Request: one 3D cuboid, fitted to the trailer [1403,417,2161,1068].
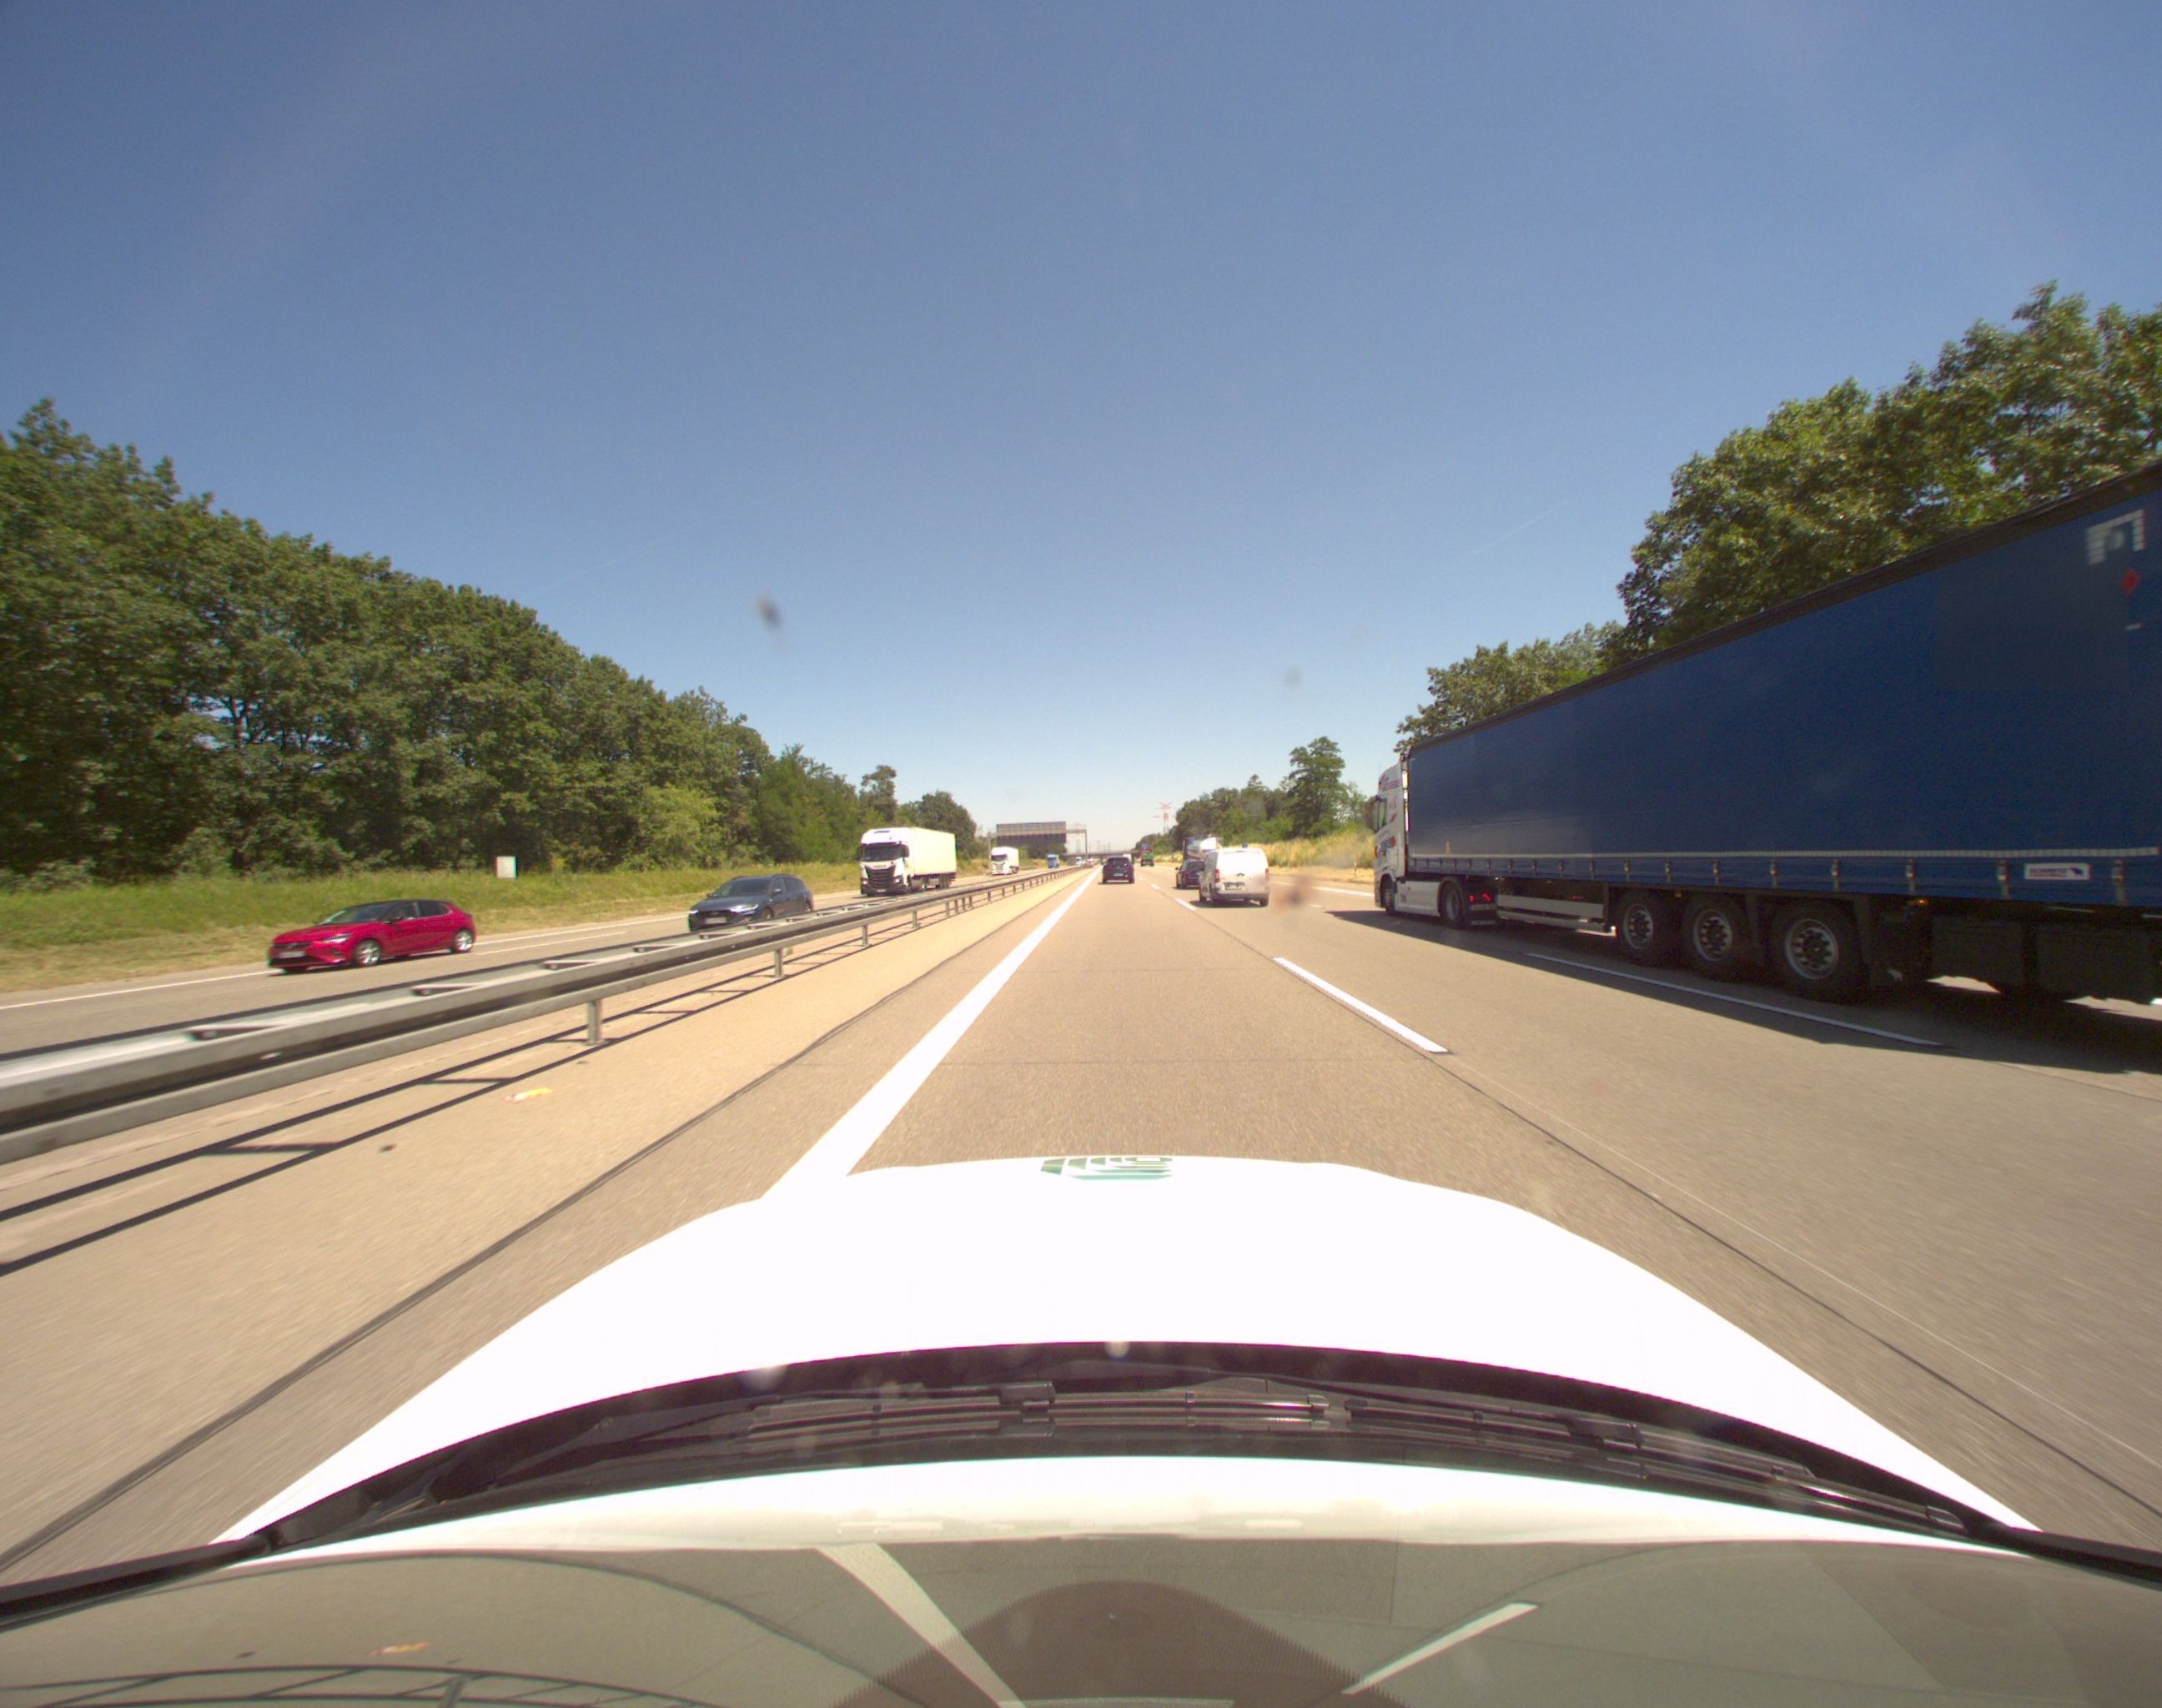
[{"bbox_3d":[8.824,-0.684,11.786,3.274,4.219,13.569,0,0,2],"label":"trailer"}]

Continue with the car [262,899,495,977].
[{"bbox_3d":[-15.874,1.836,18.735,1.633,1.276,4.134,-4,0,1],"label":"car"}]

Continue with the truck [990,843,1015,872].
[{"bbox_3d":[-11.614,0.516,121.513,2.692,4.186,6.190,-4,0,1],"label":"truck"}]

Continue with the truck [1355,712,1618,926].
[{"bbox_3d":[9.012,-0.673,19.091,3.274,4.219,6.009,0,-1,1],"label":"truck"}]

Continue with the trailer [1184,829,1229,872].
[{"bbox_3d":[11.872,-0.253,78.127,2.673,3.837,12.013,0,0,2],"label":"trailer"}]

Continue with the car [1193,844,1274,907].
[{"bbox_3d":[4.903,0.654,26.912,1.808,1.827,5.112,-2,0,1],"label":"car"}]

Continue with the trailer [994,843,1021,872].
[{"bbox_3d":[-11.472,0.538,127.961,2.692,4.186,12.066,-4,0,1],"label":"trailer"}]

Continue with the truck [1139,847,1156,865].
[{"bbox_3d":[14.649,0.418,179.974,2.978,3.728,10.092,0,0,1],"label":"truck"}]

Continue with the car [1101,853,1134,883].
[{"bbox_3d":[2.293,0.856,52.358,1.933,1.752,5.814,-1,0,1],"label":"car"}]

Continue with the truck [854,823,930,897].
[{"bbox_3d":[-11.073,0.343,48.347,2.659,3.990,6.342,-4,0,1],"label":"truck"}]

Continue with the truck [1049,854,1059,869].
[{"bbox_3d":[-8.012,2.197,244.214,2.692,4.186,4.724,-2,0,1],"label":"truck"}]

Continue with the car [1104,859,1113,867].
[{"bbox_3d":[4.705,1.512,139.145,1.518,1.252,3.626,-2,0,1],"label":"car"}]

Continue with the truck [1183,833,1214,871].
[{"bbox_3d":[12.033,-0.212,83.856,2.673,3.837,4.445,0,-1,1],"label":"truck"}]

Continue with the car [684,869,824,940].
[{"bbox_3d":[-8.368,1.211,21.313,1.611,1.482,4.626,-4,0,1],"label":"car"}]

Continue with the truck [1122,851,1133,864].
[{"bbox_3d":[10.612,0.820,186.034,2.053,2.914,7.005,-2,0,1],"label":"truck"}]

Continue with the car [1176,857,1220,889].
[{"bbox_3d":[5.863,0.925,41.197,1.768,1.472,3.873,-2,0,1],"label":"car"}]

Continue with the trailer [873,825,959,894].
[{"bbox_3d":[-10.910,0.359,55.519,2.659,3.990,13.134,-4,0,1],"label":"trailer"}]
